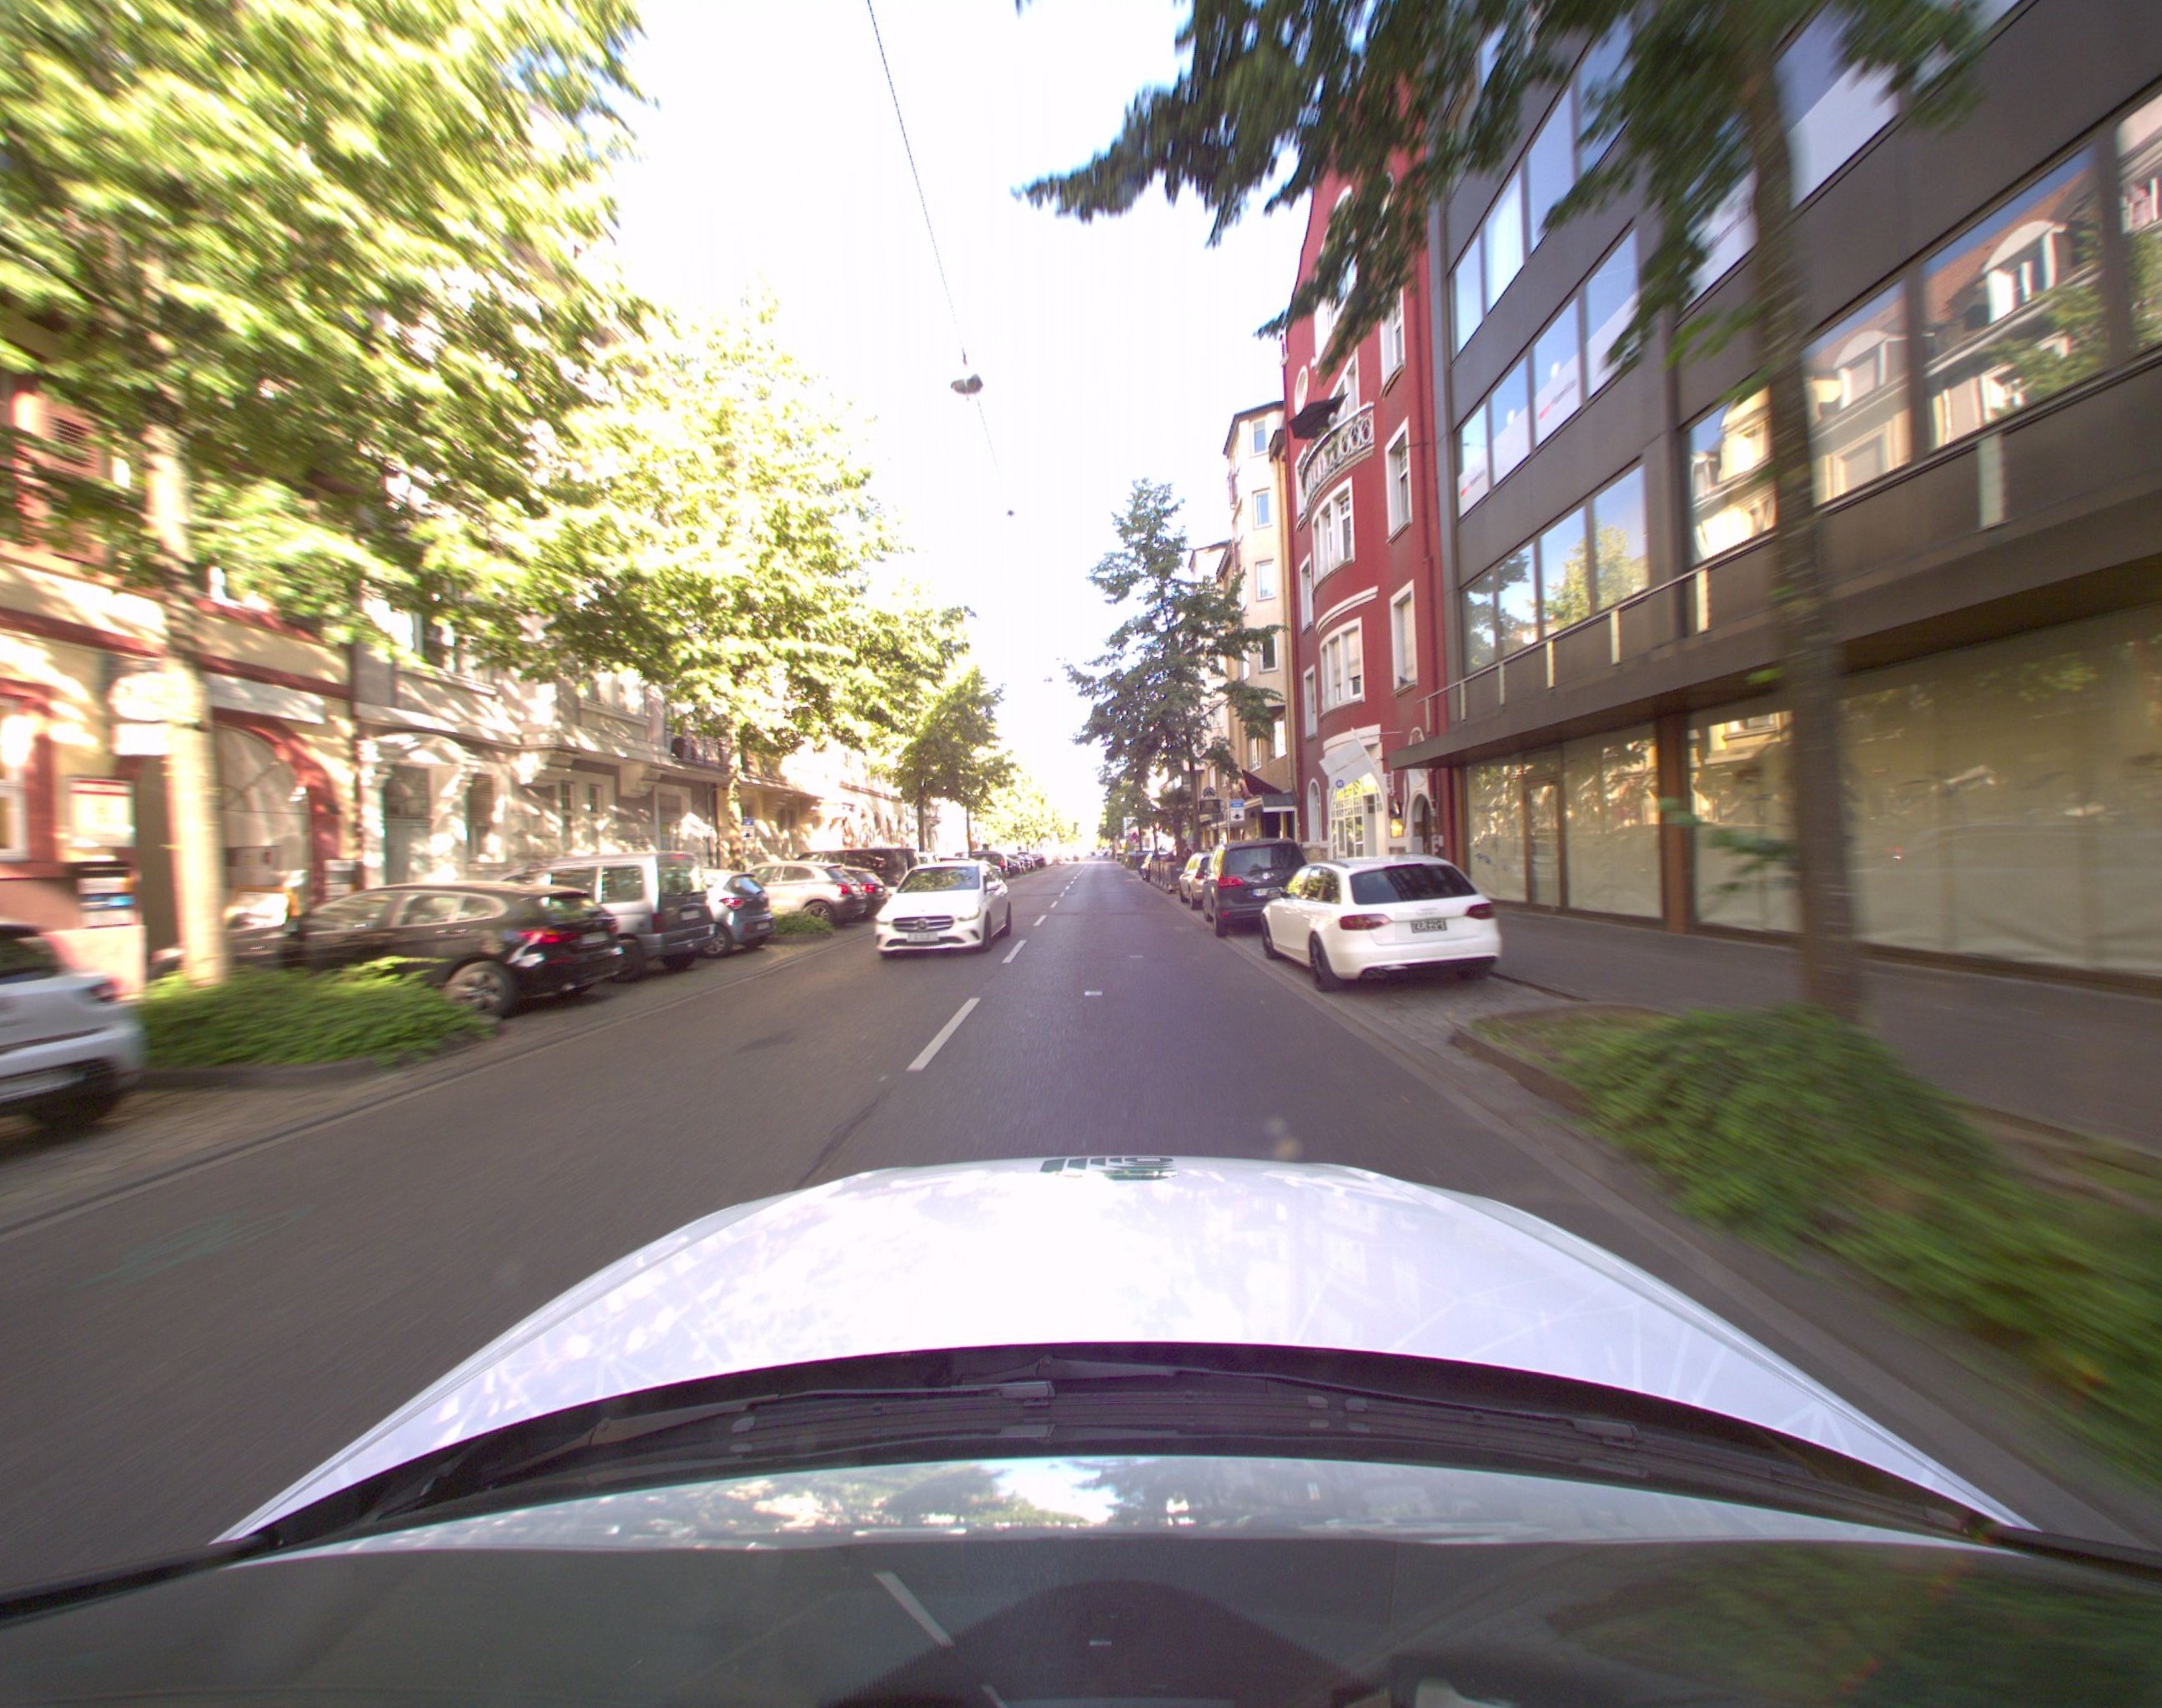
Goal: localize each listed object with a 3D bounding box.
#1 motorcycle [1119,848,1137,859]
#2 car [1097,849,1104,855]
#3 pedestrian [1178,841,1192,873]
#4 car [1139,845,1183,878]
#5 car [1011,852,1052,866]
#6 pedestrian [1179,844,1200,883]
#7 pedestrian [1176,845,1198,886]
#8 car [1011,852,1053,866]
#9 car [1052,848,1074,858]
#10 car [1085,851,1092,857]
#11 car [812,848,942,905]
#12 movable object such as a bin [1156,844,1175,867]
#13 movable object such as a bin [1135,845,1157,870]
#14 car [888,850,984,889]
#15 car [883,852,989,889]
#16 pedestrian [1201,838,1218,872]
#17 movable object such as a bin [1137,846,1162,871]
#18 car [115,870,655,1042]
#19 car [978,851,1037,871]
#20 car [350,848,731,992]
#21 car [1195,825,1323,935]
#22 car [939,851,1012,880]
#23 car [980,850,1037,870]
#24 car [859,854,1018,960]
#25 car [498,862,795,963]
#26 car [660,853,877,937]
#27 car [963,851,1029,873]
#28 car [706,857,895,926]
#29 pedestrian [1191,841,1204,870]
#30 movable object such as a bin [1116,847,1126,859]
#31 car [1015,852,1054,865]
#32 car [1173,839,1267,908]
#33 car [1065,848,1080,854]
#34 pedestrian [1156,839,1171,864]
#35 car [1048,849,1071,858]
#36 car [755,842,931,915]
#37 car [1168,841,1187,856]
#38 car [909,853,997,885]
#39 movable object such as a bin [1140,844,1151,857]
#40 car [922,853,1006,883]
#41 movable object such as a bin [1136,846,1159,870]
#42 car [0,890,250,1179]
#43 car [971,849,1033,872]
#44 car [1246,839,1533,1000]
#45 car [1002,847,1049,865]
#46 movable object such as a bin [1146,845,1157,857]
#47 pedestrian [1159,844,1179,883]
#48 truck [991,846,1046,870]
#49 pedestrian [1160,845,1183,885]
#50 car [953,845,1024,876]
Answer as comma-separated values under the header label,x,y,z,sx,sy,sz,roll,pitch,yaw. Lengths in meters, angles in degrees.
label,x,y,z,sx,sy,sz,roll,pitch,yaw
motorcycle,5.817,-0.051,101.221,1.978,1.330,0.908,-3,0,-12
car,5.365,-0.488,221.006,1.786,1.411,4.001,-3,1,1
pedestrian,5.700,0.146,44.818,0.614,1.695,0.762,-3,0,1
car,4.114,0.362,42.469,1.816,1.472,4.913,-5,0,1
car,-5.702,0.552,94.868,4.668,1.465,1.807,-2,0,-2
pedestrian,4.487,0.395,33.684,0.706,1.536,0.773,-3,0,15
pedestrian,4.063,0.443,31.299,0.690,1.536,0.777,-3,0,2
car,-5.539,0.570,92.128,4.668,1.465,1.807,-2,0,-2
car,-3.625,-0.167,162.621,3.967,1.694,2.003,-3,0,5
car,1.986,-0.080,220.667,1.797,1.435,4.409,-5,0,0
car,-7.282,0.791,29.516,4.338,1.834,1.911,-2,0,-9
movable object such as a bin,5.531,0.117,53.348,1.073,1.431,1.295,-3,0,1
movable object such as a bin,4.231,0.227,53.358,1.326,1.542,1.146,-3,0,1
car,-7.092,0.752,40.226,4.324,1.709,1.917,-2,0,1
car,-6.645,0.755,37.733,4.447,1.541,1.918,-2,0,3
pedestrian,6.561,0.056,41.600,0.506,1.695,0.623,-3,0,-36
movable object such as a bin,4.296,0.261,51.019,1.394,1.453,1.146,-3,0,1
car,-7.625,1.048,9.372,4.331,1.544,1.961,-2,0,-4
car,-6.148,0.558,68.584,4.662,1.519,1.809,-2,0,2
car,-7.794,0.900,12.052,4.321,1.824,1.931,-2,0,3
car,3.446,0.433,16.681,1.813,1.777,4.937,-5,0,5
car,-6.975,0.736,54.151,4.448,1.772,1.918,-2,0,2
car,-6.338,0.544,71.392,4.662,1.572,1.809,-2,0,2
car,-2.379,0.824,14.767,1.903,1.544,4.356,-2,0,2
car,-7.711,1.013,14.713,4.318,1.544,1.919,-2,0,5
car,-7.260,0.910,19.297,4.327,1.733,1.916,-2,0,-1
car,-6.310,0.601,60.483,4.629,1.459,1.684,-2,0,0
car,-7.375,0.954,21.753,4.327,1.595,1.916,-2,0,-1
pedestrian,6.753,0.104,47.363,0.614,1.641,0.763,-3,0,4
movable object such as a bin,5.433,-0.176,111.564,1.136,1.562,1.463,-3,0,9
car,-5.662,0.525,99.949,4.668,1.412,1.807,-2,0,-2
car,3.788,0.487,23.043,1.816,1.596,4.843,-5,0,1
car,-2.339,-0.734,230.359,3.974,1.499,2.000,-3,1,0
pedestrian,6.718,-0.217,66.580,0.916,1.935,0.765,-3,0,26
car,-3.956,-0.070,149.708,3.974,1.390,2.000,-3,1,0
car,-7.010,0.701,24.295,4.554,1.926,1.932,-2,0,3
car,11.428,-0.691,96.696,1.893,1.648,4.296,-3,0,3
car,-6.963,0.813,44.690,4.451,1.541,1.916,-2,0,0
movable object such as a bin,8.624,-0.421,108.961,1.202,1.627,1.498,-3,0,-1
car,-6.793,0.811,47.611,4.445,1.541,1.919,-2,0,4
movable object such as a bin,4.254,0.268,52.194,1.394,1.453,1.146,-3,0,1
car,-8.219,1.054,4.739,4.682,1.492,2.001,-1,1,1
car,-6.373,0.504,65.859,4.662,1.712,1.809,-2,0,2
car,3.450,0.614,10.249,1.815,1.402,4.844,-5,0,2
car,-5.734,0.247,84.230,4.662,1.693,1.809,-2,0,2
movable object such as a bin,9.299,-0.397,107.586,1.267,1.530,1.176,-3,0,-1
pedestrian,3.641,0.381,33.721,0.648,1.536,0.980,-3,0,-1
truck,-6.003,0.375,78.834,5.068,1.938,2.000,-3,0,0
pedestrian,3.609,0.419,32.422,0.743,1.536,0.811,-3,0,15
car,-6.431,0.457,57.058,4.662,1.950,1.918,-2,0,2
